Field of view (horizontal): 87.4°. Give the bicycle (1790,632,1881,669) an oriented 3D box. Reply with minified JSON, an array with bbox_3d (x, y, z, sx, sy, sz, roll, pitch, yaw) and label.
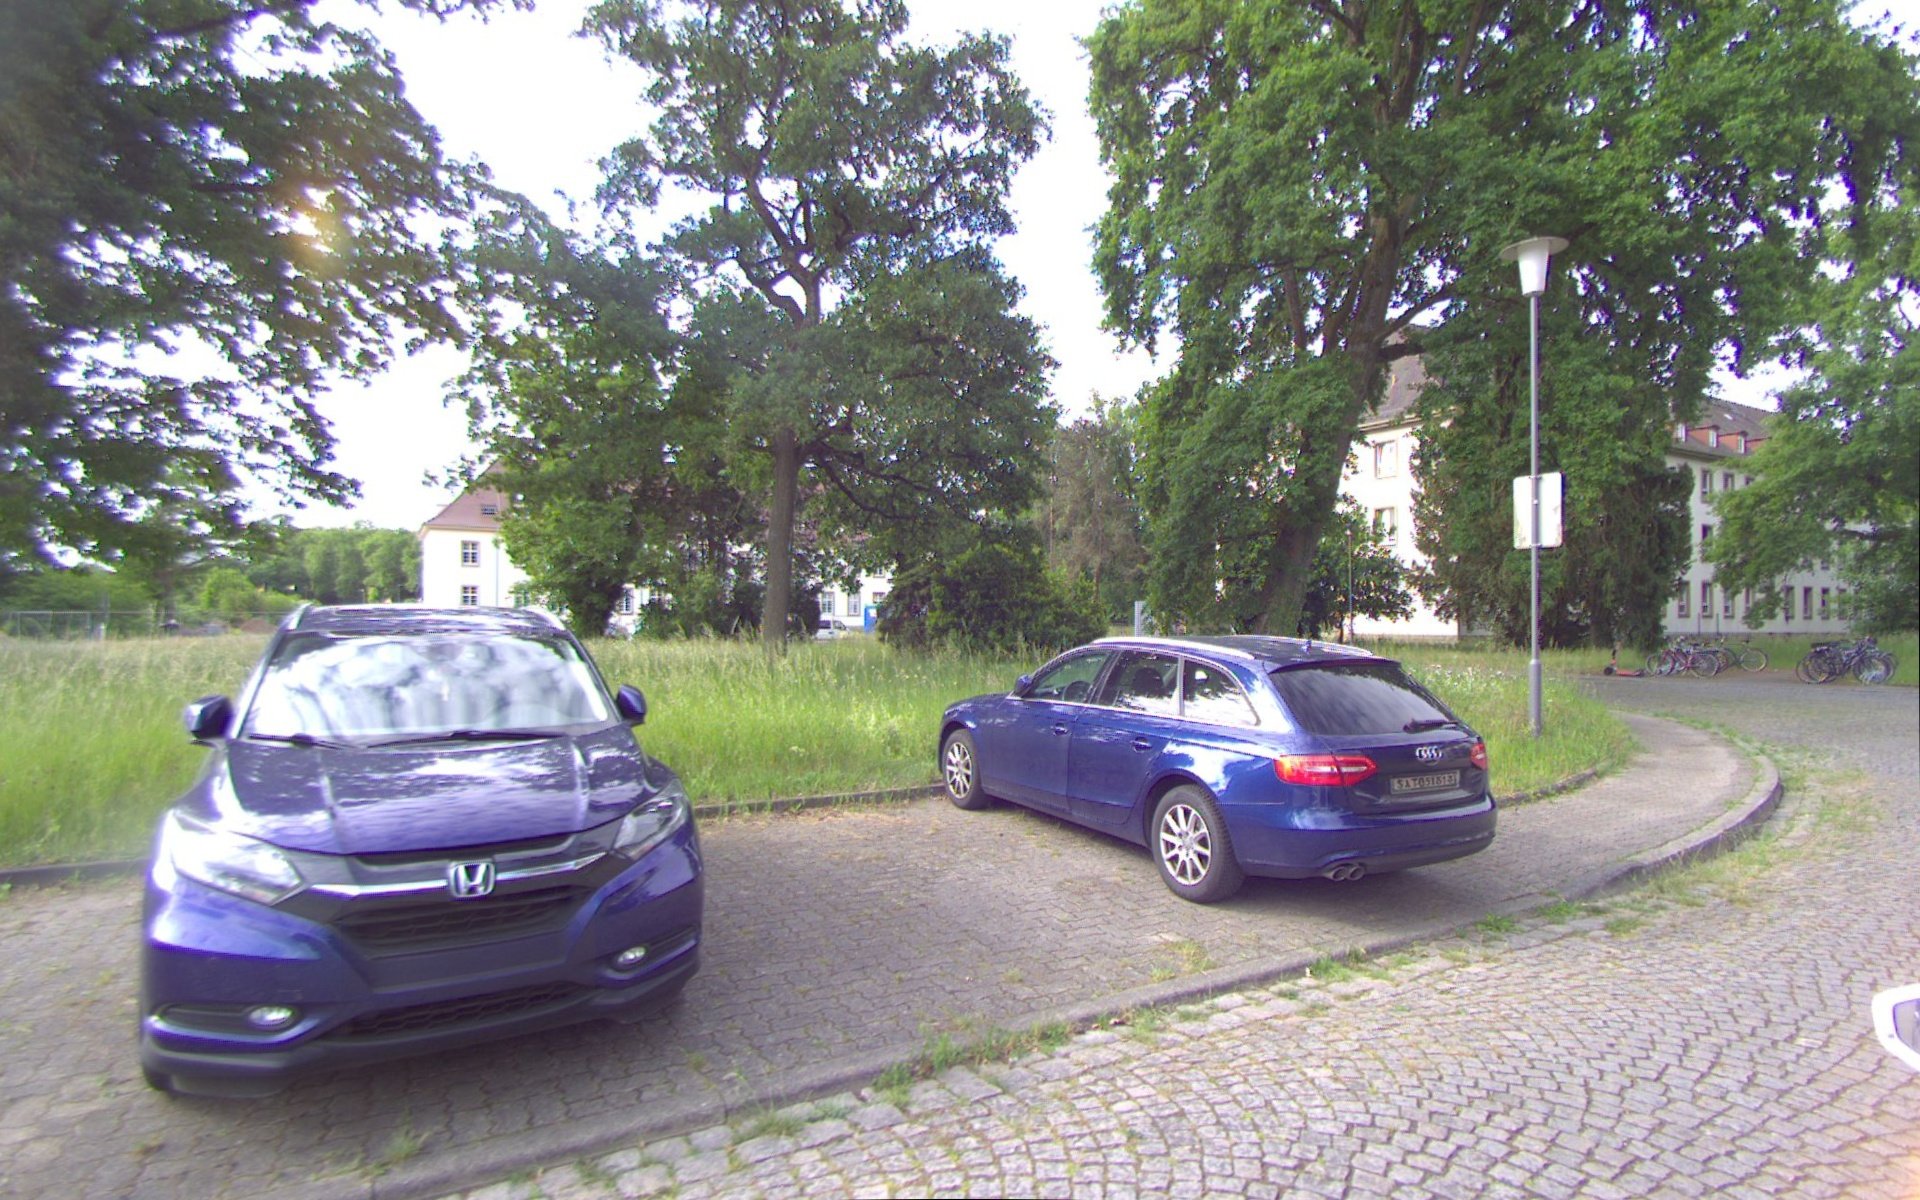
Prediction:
[{"bbox_3d":[25.420,1.470,29.203,1.932,1.018,0.683,-3,0,41],"label":"bicycle"}]

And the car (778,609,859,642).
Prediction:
[{"bbox_3d":[-10.343,1.885,73.634,5.467,2.237,2.109,2,1,-30],"label":"car"}]

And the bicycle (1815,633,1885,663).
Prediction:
[{"bbox_3d":[27.843,1.502,31.448,1.598,0.923,0.524,-3,0,41],"label":"bicycle"}]

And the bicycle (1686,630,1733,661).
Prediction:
[{"bbox_3d":[25.501,1.546,34.194,1.245,1.042,0.432,-3,-5,41],"label":"bicycle"}]

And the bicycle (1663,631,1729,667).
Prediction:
[{"bbox_3d":[22.930,1.520,31.324,1.601,1.088,0.538,-1,1,31],"label":"bicycle"}]

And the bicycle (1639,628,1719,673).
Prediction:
[{"bbox_3d":[21.293,1.475,29.757,1.874,1.239,0.640,0,1,41],"label":"bicycle"}]

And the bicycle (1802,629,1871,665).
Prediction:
[{"bbox_3d":[27.250,1.456,31.254,1.598,1.073,0.524,-3,0,41],"label":"bicycle"}]

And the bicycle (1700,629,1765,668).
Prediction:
[{"bbox_3d":[24.941,1.556,32.456,1.617,1.201,0.572,-1,1,35],"label":"bicycle"}]

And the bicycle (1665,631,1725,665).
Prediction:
[{"bbox_3d":[23.769,1.552,32.509,1.489,1.049,0.544,-1,1,31],"label":"bicycle"}]

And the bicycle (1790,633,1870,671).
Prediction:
[{"bbox_3d":[24.803,1.489,28.657,1.672,1.015,0.629,-3,0,41],"label":"bicycle"}]

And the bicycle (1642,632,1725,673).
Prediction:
[{"bbox_3d":[21.754,1.562,30.224,1.962,1.129,0.640,-1,1,41],"label":"bicycle"}]

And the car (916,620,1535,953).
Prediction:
[{"bbox_3d":[1.384,0.918,7.039,1.661,1.499,4.413,0,0,-28],"label":"car"}]

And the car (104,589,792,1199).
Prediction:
[{"bbox_3d":[-2.391,0.814,4.713,1.770,1.594,4.117,2,-1,-31],"label":"car"}]

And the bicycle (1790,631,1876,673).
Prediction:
[{"bbox_3d":[24.372,1.447,28.070,1.773,1.118,0.699,-3,0,41],"label":"bicycle"}]

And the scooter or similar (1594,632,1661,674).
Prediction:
[{"bbox_3d":[20.120,1.569,30.296,0.673,1.211,1.542,0,-1,-26],"label":"scooter or similar"}]

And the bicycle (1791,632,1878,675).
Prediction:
[{"bbox_3d":[23.911,1.455,27.490,1.748,1.118,0.699,-3,0,41],"label":"bicycle"}]

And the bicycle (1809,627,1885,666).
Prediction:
[{"bbox_3d":[27.064,1.427,30.678,1.677,1.131,0.539,-3,0,41],"label":"bicycle"}]

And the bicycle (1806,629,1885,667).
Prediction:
[{"bbox_3d":[26.673,1.447,30.282,1.751,1.120,0.539,-3,0,41],"label":"bicycle"}]
